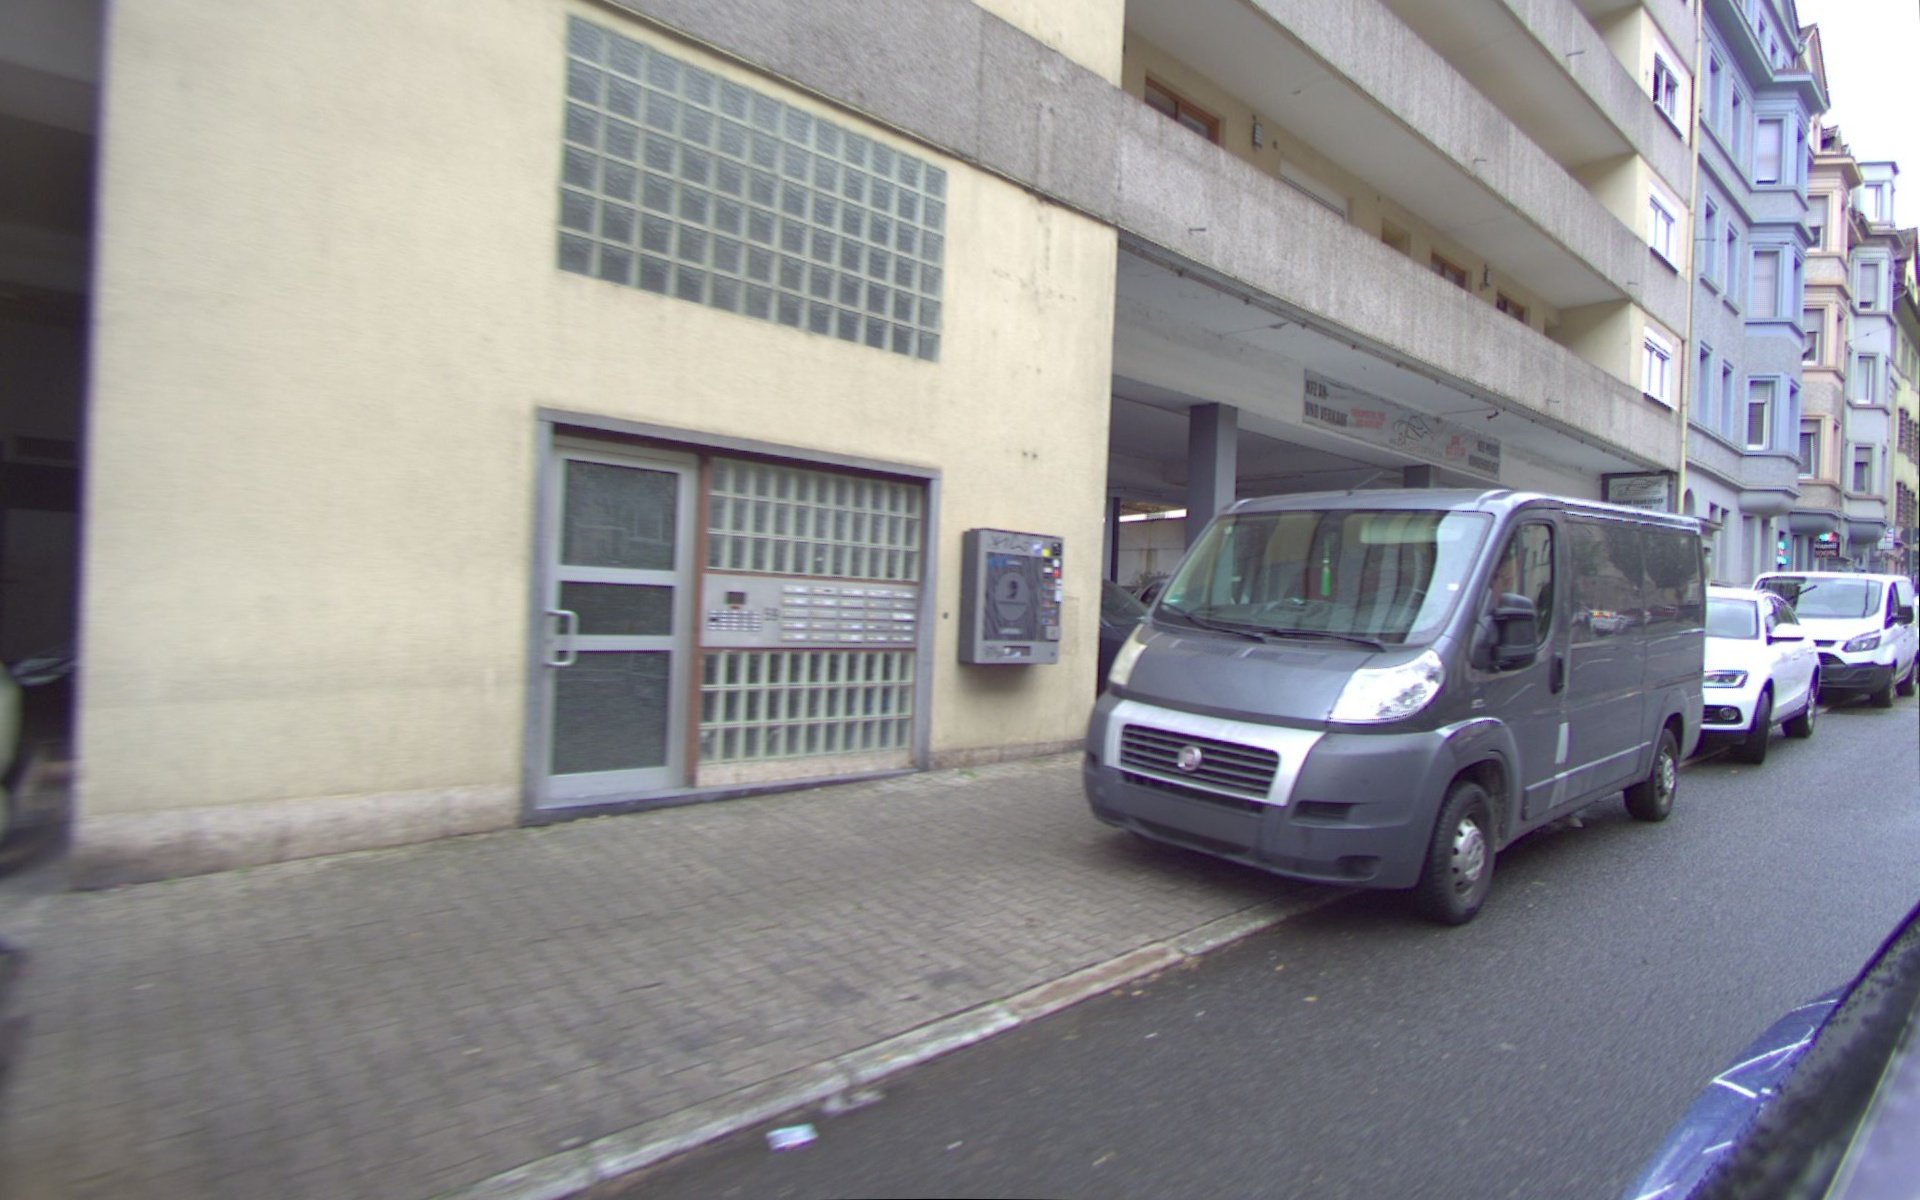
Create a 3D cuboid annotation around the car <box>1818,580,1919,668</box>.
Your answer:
[{"bbox_3d":[19.321,0.436,20.929,4.236,1.617,1.731,0,3,-41],"label":"car"}]

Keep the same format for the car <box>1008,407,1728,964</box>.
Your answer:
[{"bbox_3d":[2.999,0.283,6.576,5.415,2.175,2.157,0,2,-42],"label":"car"}]

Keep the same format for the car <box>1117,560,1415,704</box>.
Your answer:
[{"bbox_3d":[4.029,0.316,14.093,1.774,1.661,4.046,1,2,-22],"label":"car"}]

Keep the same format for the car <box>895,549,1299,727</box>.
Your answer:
[{"bbox_3d":[1.463,0.288,11.531,4.216,1.676,1.776,2,2,35],"label":"car"}]

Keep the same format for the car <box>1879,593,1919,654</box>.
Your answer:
[{"bbox_3d":[25.060,0.583,25.936,4.282,1.460,1.730,0,2,-41],"label":"car"}]

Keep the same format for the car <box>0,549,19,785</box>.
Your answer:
[{"bbox_3d":[-5.847,0.464,4.960,1.530,1.408,3.997,0,3,-39],"label":"car"}]

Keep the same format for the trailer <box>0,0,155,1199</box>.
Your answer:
[{"bbox_3d":[-3.389,0.293,0.207,4.979,2.179,1.999,1,2,-39],"label":"trailer"}]

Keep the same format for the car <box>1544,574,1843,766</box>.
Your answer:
[{"bbox_3d":[8.045,0.582,10.952,4.200,1.660,1.749,0,2,-42],"label":"car"}]

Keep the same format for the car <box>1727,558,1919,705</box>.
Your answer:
[{"bbox_3d":[14.000,0.382,16.060,4.739,1.980,1.993,0,2,-41],"label":"car"}]
